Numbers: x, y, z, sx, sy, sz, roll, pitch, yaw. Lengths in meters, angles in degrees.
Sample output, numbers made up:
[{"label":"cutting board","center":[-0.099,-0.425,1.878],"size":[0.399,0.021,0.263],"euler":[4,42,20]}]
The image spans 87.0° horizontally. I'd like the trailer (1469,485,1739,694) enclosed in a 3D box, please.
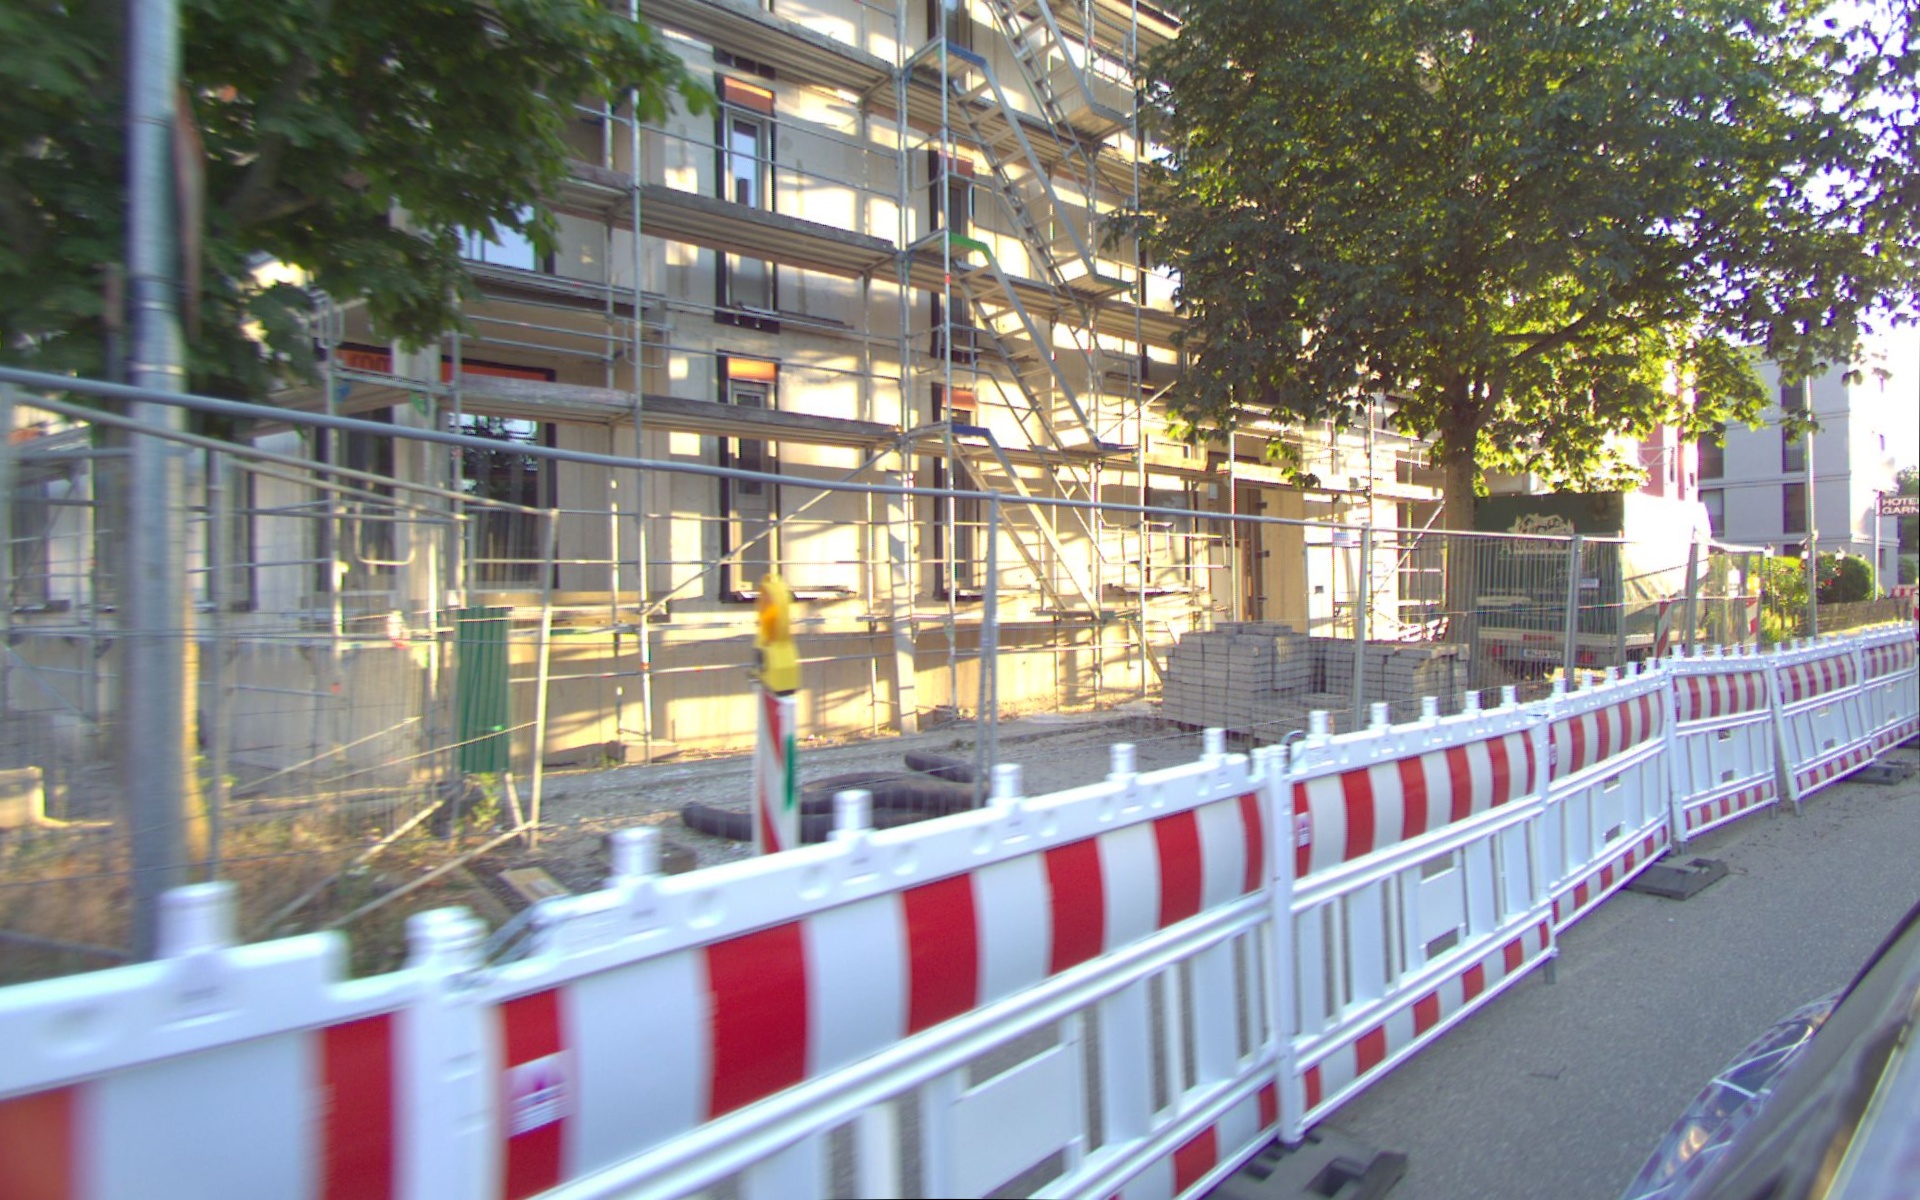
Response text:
[{"label":"trailer","center":[9.312,-0.153,14.534],"size":[4.109,2.572,1.998],"euler":[-1,0,-38]}]
